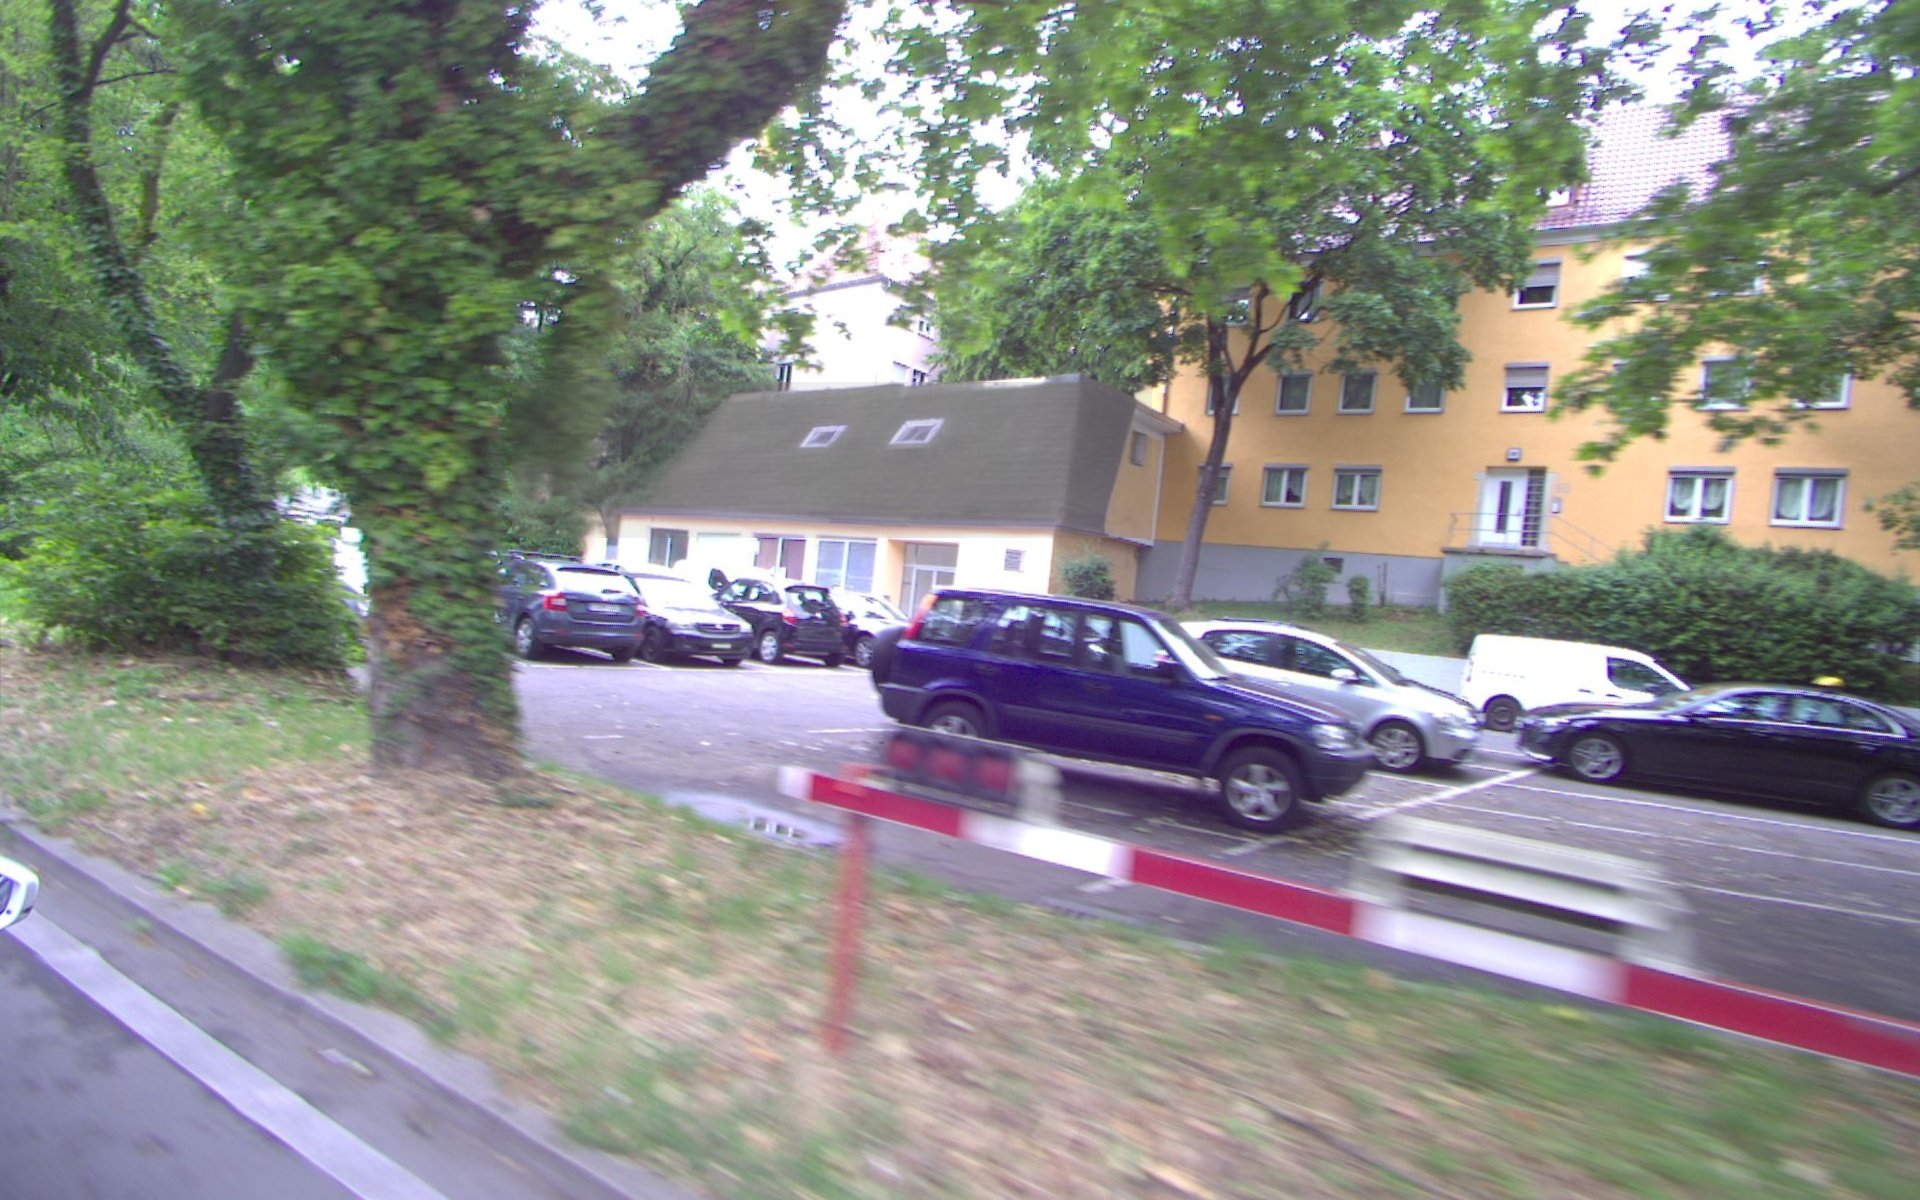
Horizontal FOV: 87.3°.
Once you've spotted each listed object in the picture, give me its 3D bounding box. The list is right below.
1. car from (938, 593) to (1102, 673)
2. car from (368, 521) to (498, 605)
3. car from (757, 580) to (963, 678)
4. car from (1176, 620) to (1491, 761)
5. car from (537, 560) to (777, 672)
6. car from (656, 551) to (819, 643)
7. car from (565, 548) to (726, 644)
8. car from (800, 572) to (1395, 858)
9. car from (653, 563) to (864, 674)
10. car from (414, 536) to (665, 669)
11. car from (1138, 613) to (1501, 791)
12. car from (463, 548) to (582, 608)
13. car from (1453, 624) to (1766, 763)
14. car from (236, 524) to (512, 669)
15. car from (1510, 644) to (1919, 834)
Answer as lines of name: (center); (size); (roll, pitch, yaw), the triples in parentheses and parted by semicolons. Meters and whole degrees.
car: (1.477, 0.804, 25.050); (3.606, 1.524, 1.653); (7, 1, 29)
car: (-15.716, -1.132, 29.897); (4.500, 2.039, 1.853); (6, -1, 42)
car: (-2.160, 0.558, 20.778); (1.780, 1.464, 4.348); (6, 1, -45)
car: (5.506, 1.237, 14.990); (4.057, 1.447, 1.734); (6, 2, 26)
car: (-5.377, 0.234, 17.501); (4.529, 1.396, 1.782); (7, 1, 41)
car: (-5.374, -0.107, 23.941); (1.800, 1.461, 4.190); (6, 4, -43)
car: (-7.111, -0.135, 22.542); (1.800, 1.461, 3.955); (6, 4, -43)
car: (1.170, 0.829, 8.999); (4.795, 1.687, 1.813); (6, 1, 22)
car: (-4.004, 0.316, 19.506); (1.780, 1.614, 4.348); (6, 1, -45)
car: (-6.799, -0.014, 16.029); (4.529, 1.578, 1.782); (7, 1, 41)
car: (4.598, 1.183, 12.991); (4.060, 1.590, 1.733); (6, 2, 29)
car: (-14.013, -0.722, 32.095); (4.267, 1.443, 1.793); (6, -1, 42)
car: (11.918, 1.634, 18.769); (4.526, 1.910, 1.994); (6, 0, 34)
car: (-8.369, -0.118, 14.140); (4.991, 1.460, 1.782); (7, 1, 41)
car: (9.756, 1.655, 12.574); (4.818, 1.598, 1.997); (7, 1, 27)
